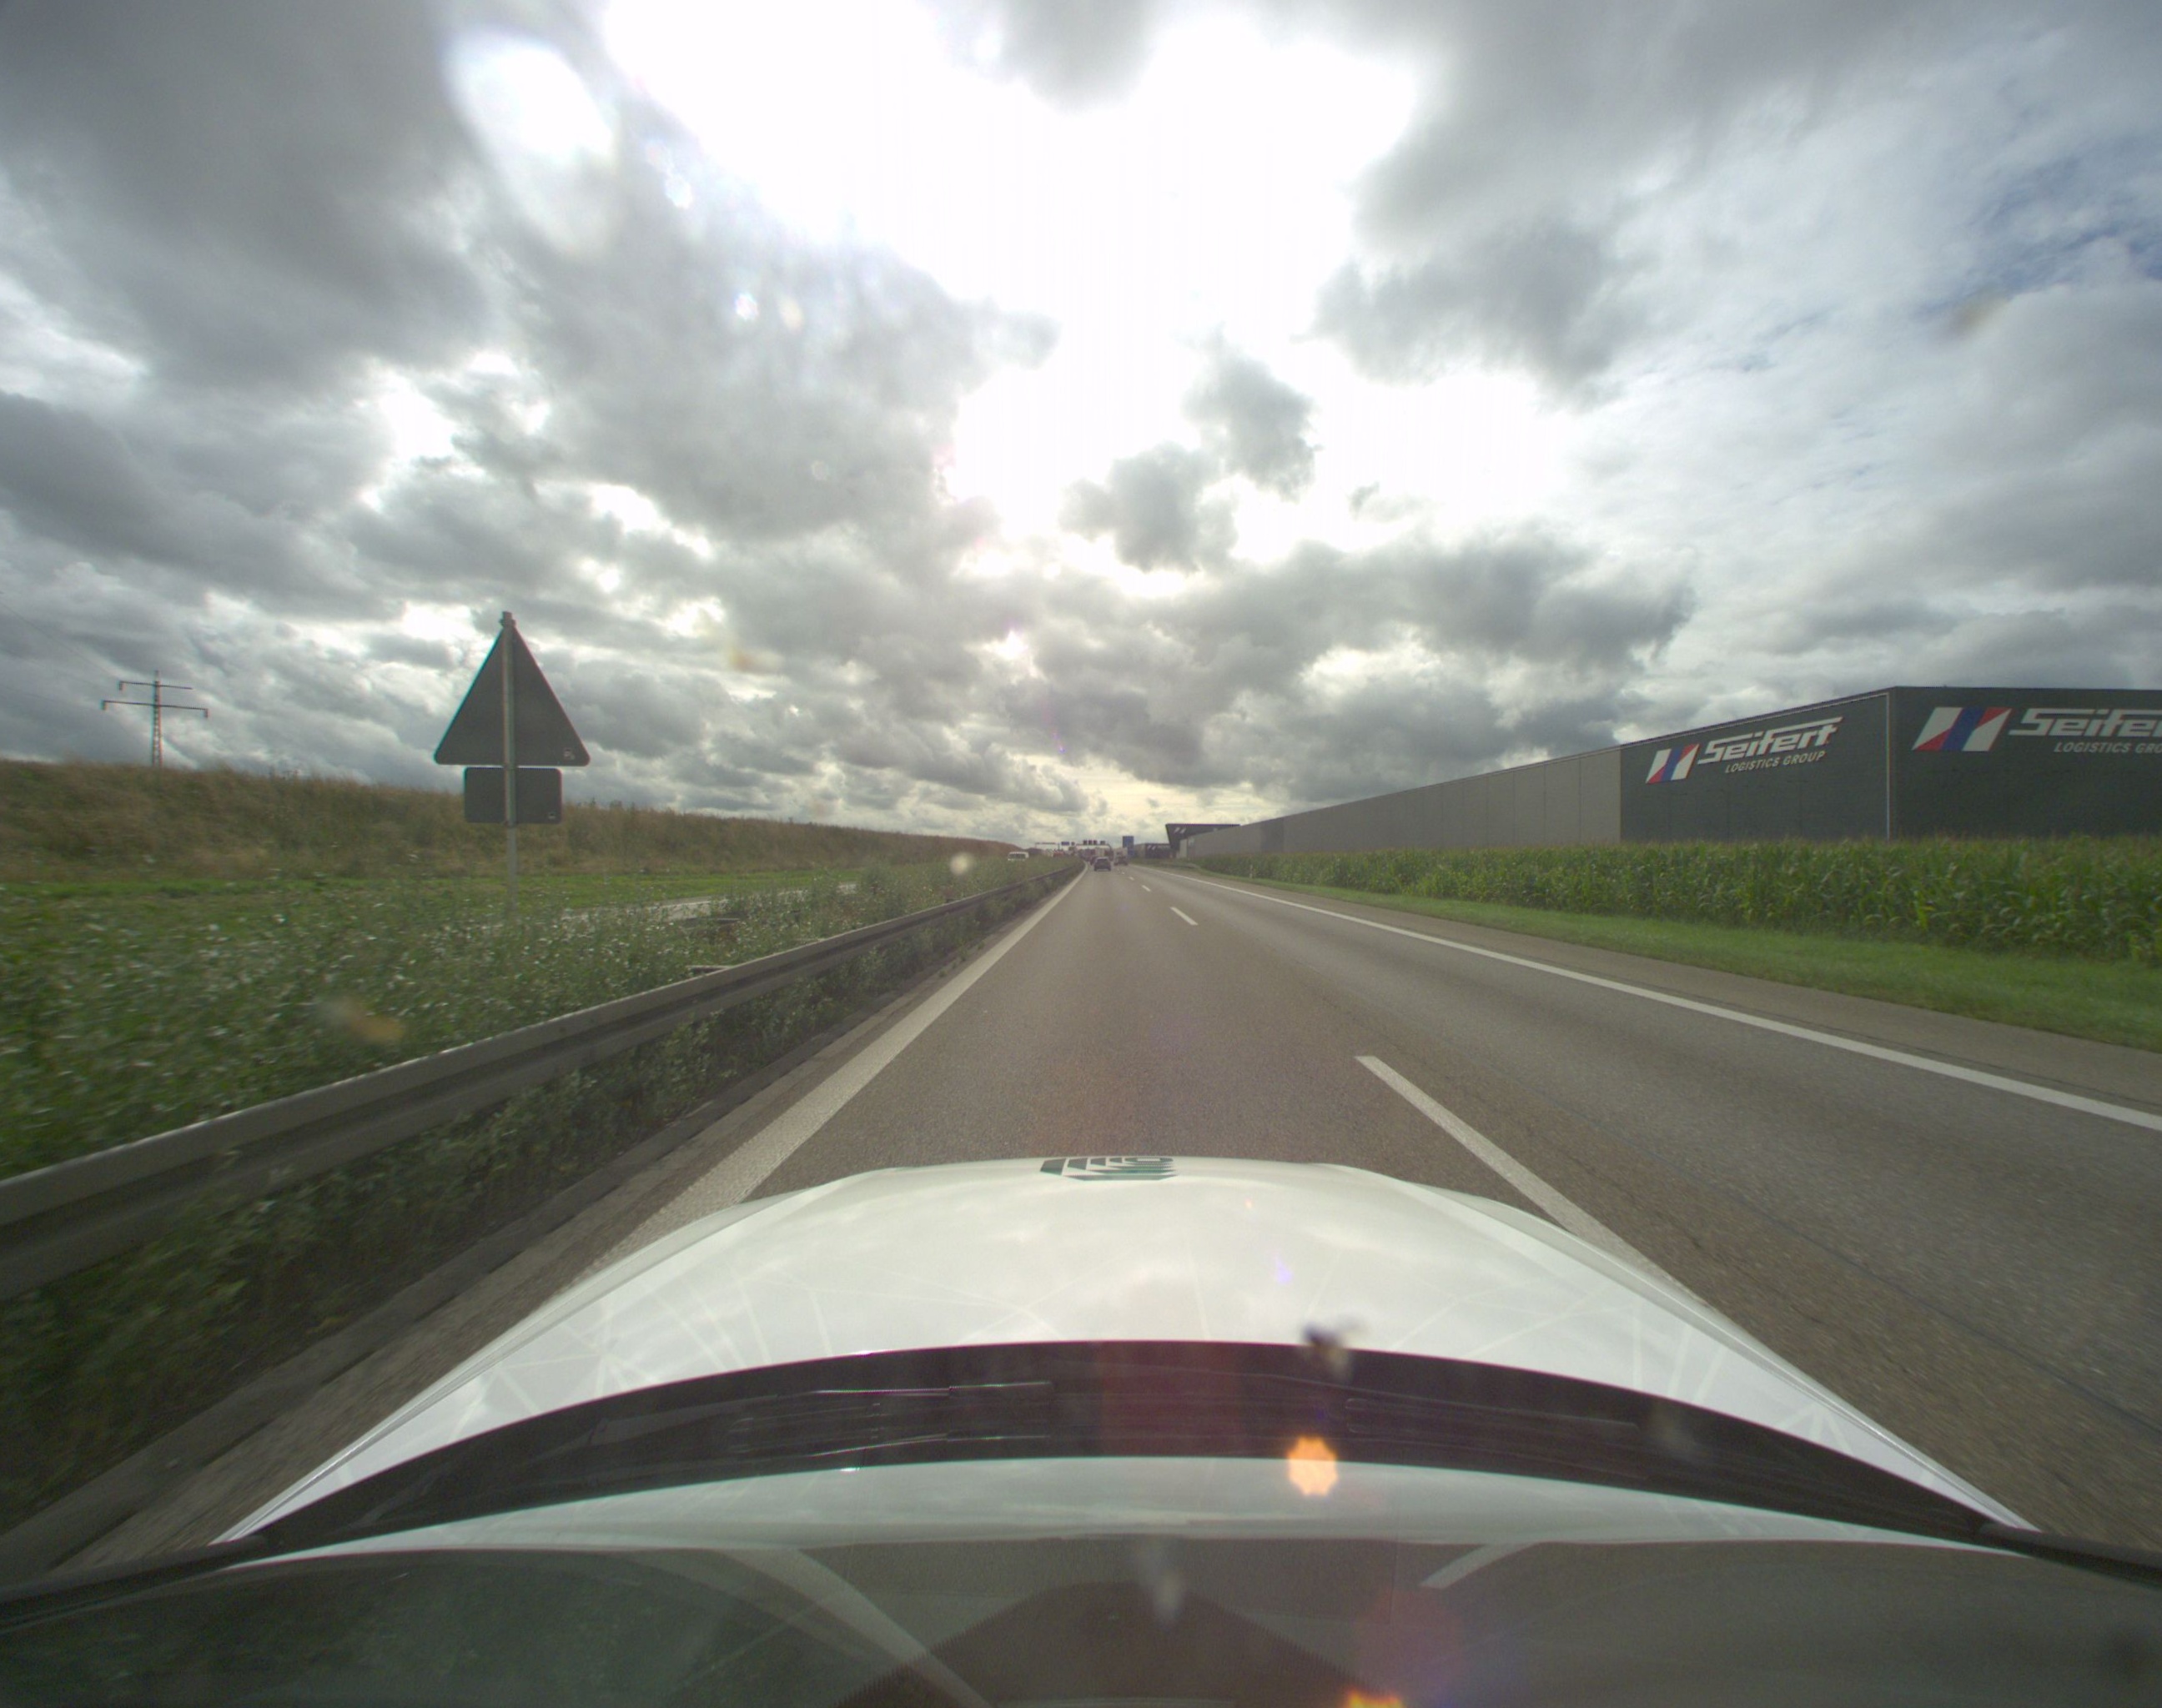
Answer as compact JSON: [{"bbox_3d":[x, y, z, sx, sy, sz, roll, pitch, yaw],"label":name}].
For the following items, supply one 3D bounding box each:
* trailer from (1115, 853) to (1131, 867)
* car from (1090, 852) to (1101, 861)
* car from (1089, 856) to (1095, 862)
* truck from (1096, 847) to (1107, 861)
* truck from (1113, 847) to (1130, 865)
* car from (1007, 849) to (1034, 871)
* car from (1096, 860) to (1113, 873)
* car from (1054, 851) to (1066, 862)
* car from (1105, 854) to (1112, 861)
[{"bbox_3d":[6.798,0.941,131.712,2.330,2.136,4.000,0,0,0],"label":"trailer"},{"bbox_3d":[2.712,0.508,150.120,1.939,1.685,4.000,0,0,1],"label":"car"},{"bbox_3d":[3.137,1.519,233.583,1.937,1.775,3.695,0,0,0],"label":"car"},{"bbox_3d":[6.524,0.093,260.783,3.330,4.534,8.011,0,-1,-2],"label":"truck"},{"bbox_3d":[6.864,0.319,138.580,2.475,2.950,5.811,0,0,-2],"label":"truck"},{"bbox_3d":[-5.611,0.565,76.148,1.986,2.014,5.533,0,0,2],"label":"car"},{"bbox_3d":[2.485,1.330,87.765,1.740,1.453,4.000,0,0,1],"label":"car"},{"bbox_3d":[-4.337,0.582,168.030,2.116,2.267,5.454,0,0,1],"label":"car"},{"bbox_3d":[7.234,0.901,212.330,1.795,1.684,4.000,-1,1,0],"label":"car"}]
